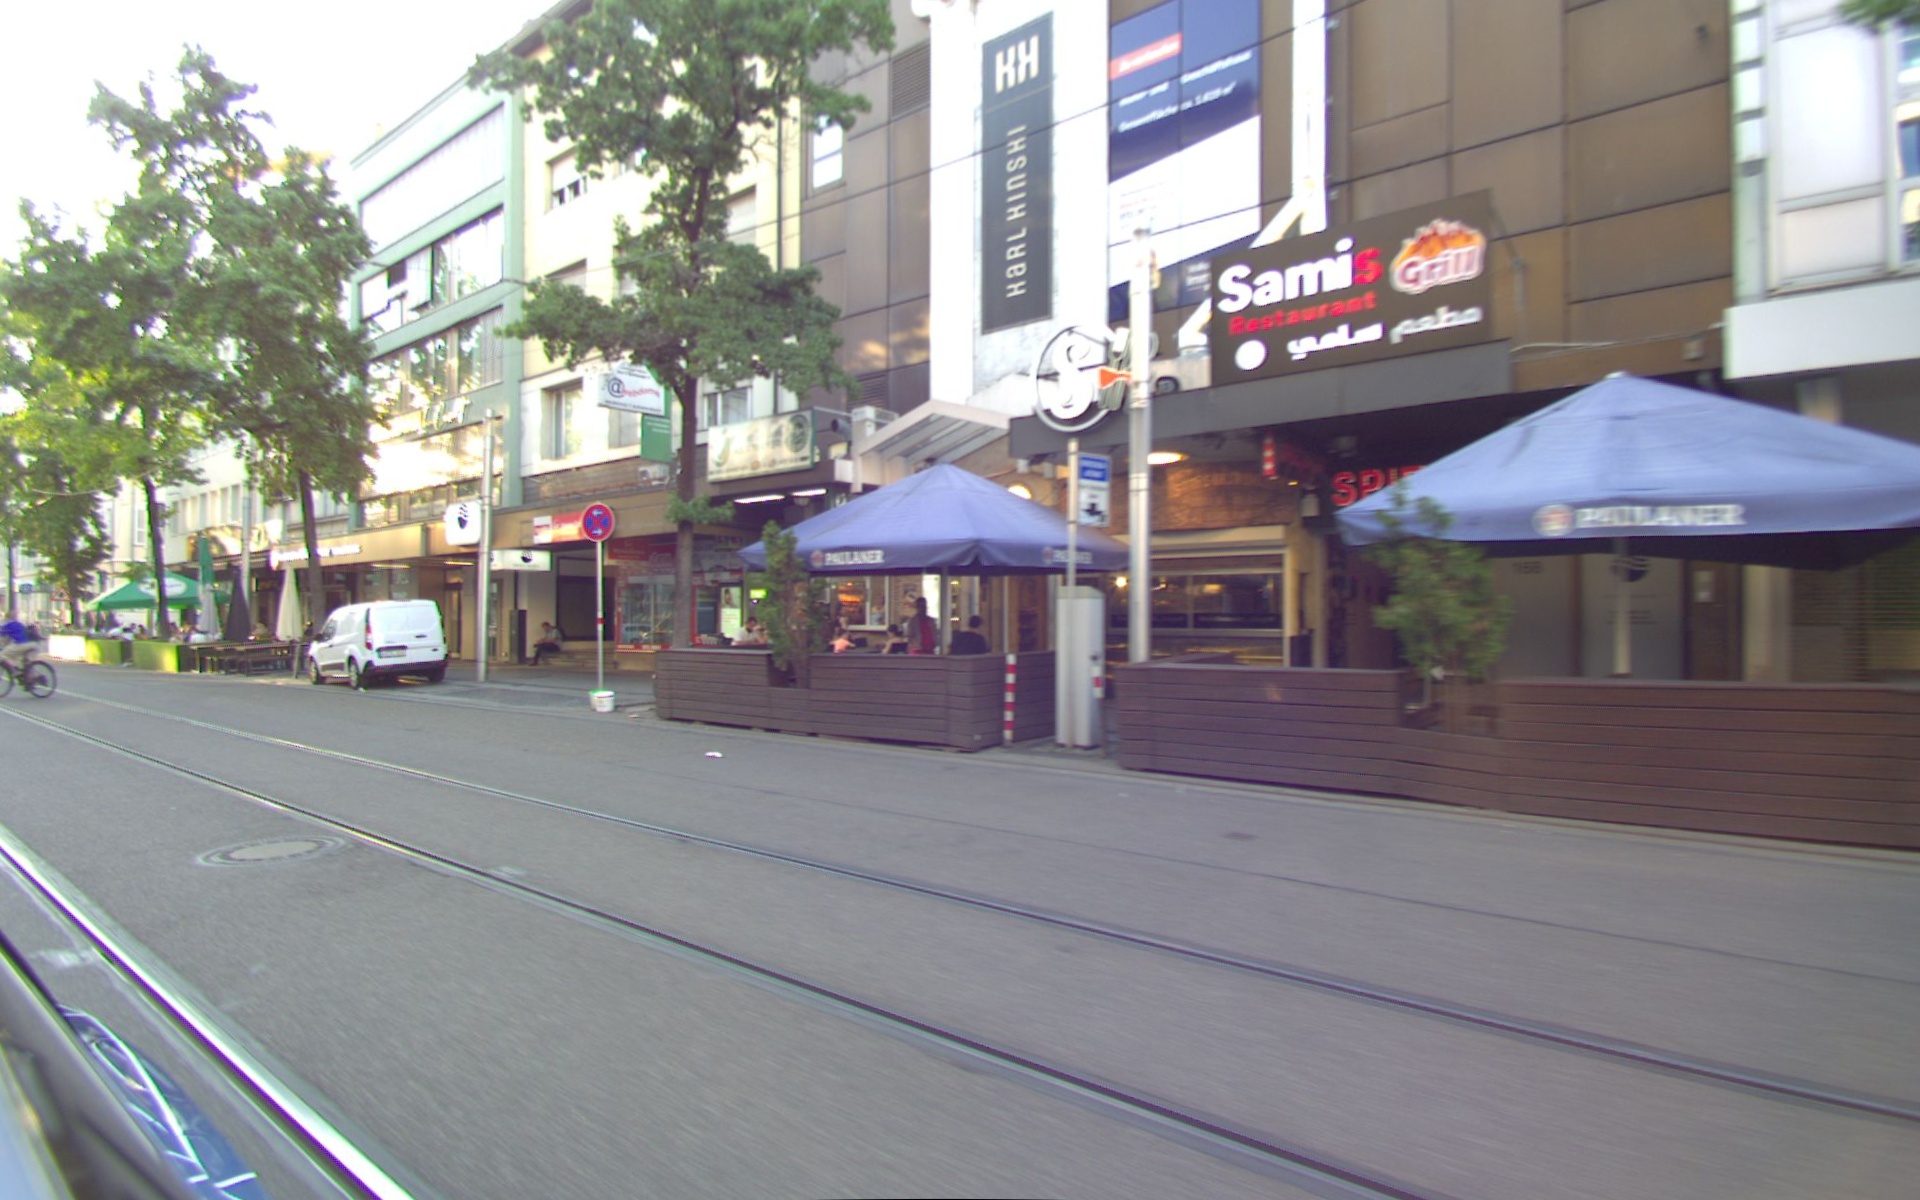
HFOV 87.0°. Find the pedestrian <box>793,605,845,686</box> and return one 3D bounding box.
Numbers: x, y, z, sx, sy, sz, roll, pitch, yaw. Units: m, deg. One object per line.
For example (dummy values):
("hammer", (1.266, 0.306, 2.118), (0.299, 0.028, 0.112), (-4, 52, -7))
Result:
("pedestrian", (-2.661, 0.833, 19.066), (0.642, 1.444, 0.654), (0, 3, 40))

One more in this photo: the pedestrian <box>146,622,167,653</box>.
("pedestrian", (-37.945, 1.770, 47.811), (0.649, 1.471, 0.642), (-1, -2, 38))

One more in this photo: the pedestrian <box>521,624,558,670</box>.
("pedestrian", (-11.029, 1.226, 26.556), (0.648, 1.184, 0.642), (-1, -1, 35))

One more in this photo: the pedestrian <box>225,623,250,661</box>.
("pedestrian", (-28.486, 1.653, 39.910), (0.649, 1.471, 0.642), (-1, -2, 37))

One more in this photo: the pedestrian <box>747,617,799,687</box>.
("pedestrian", (-3.521, 0.955, 19.050), (0.665, 1.237, 0.635), (0, 3, 38))

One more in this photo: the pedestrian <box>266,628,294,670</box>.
("pedestrian", (-24.328, 1.742, 36.215), (0.649, 1.471, 0.642), (-1, -2, 38))

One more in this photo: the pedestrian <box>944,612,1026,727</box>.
("pedestrian", (0.330, 0.877, 13.200), (0.746, 1.411, 0.756), (0, 2, 39))

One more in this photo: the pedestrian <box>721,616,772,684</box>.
("pedestrian", (-4.157, 0.964, 19.693), (0.665, 1.237, 0.635), (0, 3, 38))

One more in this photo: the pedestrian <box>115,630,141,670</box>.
("pedestrian", (-29.127, 1.738, 35.419), (0.640, 1.397, 0.651), (1, -2, -43))

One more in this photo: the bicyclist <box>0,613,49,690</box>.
("bicyclist", (-18.134, 0.961, 19.308), (0.889, 1.425, 0.757), (-1, -1, 14))

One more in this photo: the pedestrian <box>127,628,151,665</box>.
("pedestrian", (-31.411, 1.777, 38.715), (0.640, 1.397, 0.651), (1, -2, -43))

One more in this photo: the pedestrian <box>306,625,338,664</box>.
("pedestrian", (-22.045, 1.517, 34.951), (0.785, 1.326, 0.693), (-1, -2, 36))

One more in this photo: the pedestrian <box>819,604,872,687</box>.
("pedestrian", (-2.105, 0.825, 18.610), (0.642, 1.444, 0.654), (0, 3, 40))

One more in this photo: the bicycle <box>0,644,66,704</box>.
("bicycle", (-18.144, 1.396, 19.304), (1.848, 1.081, 0.729), (-1, -1, 15))

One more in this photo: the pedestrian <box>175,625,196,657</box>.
("pedestrian", (-36.243, 1.925, 47.367), (0.649, 1.471, 0.642), (-1, -2, 38))

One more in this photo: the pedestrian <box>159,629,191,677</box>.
("pedestrian", (-24.325, 1.637, 31.358), (0.650, 1.471, 0.641), (-2, -2, 41))

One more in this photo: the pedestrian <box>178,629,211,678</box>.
("pedestrian", (-23.427, 1.628, 30.970), (0.639, 1.471, 0.652), (0, -2, -20))

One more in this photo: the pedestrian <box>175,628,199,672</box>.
("pedestrian", (-25.974, 1.667, 34.012), (0.639, 1.471, 0.651), (1, -2, -37))

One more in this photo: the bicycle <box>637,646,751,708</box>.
("bicycle", (-4.271, 1.221, 16.228), (1.813, 0.933, 0.477), (-1, 0, 20))

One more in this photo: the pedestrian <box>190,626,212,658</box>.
("pedestrian", (-34.573, 1.904, 46.108), (0.649, 1.471, 0.642), (-1, -2, 38))

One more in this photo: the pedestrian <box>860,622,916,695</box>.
("pedestrian", (-1.203, 0.962, 16.929), (0.665, 1.165, 0.635), (0, 1, 38))

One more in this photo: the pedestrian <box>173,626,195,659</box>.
("pedestrian", (-34.893, 1.903, 45.505), (0.649, 1.471, 0.642), (-1, -2, 37))

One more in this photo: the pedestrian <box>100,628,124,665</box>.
("pedestrian", (-32.752, 1.790, 39.084), (0.640, 1.397, 0.651), (1, -2, -43))

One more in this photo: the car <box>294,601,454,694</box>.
("car", (-13.245, 1.015, 22.785), (4.328, 1.835, 1.807), (-2, 1, 42))

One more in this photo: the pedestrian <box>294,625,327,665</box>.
("pedestrian", (-21.731, 1.508, 33.880), (0.785, 1.326, 0.693), (-1, -2, 36))

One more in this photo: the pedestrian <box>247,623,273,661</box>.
("pedestrian", (-27.465, 1.644, 39.710), (0.649, 1.471, 0.642), (-1, -2, 37))

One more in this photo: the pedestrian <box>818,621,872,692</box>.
("pedestrian", (-2.003, 0.973, 17.648), (0.665, 1.165, 0.635), (0, 1, 38))

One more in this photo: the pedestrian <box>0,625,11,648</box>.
("pedestrian", (-61.569, 2.321, 65.211), (0.543, 1.471, 0.484), (-1, -2, 38))

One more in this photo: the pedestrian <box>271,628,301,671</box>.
("pedestrian", (-23.657, 1.733, 35.528), (0.648, 1.471, 0.643), (-1, -2, 31))

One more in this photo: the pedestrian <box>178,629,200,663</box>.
("pedestrian", (-34.191, 2.036, 44.882), (0.649, 1.471, 0.642), (-1, -2, 37))

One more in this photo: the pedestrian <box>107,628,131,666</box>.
("pedestrian", (-31.806, 1.778, 38.282), (0.640, 1.397, 0.651), (1, -2, -43))

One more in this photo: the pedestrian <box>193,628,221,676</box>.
("pedestrian", (-23.706, 1.636, 31.864), (0.639, 1.471, 0.652), (1, -2, -33))

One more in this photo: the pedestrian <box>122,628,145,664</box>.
("pedestrian", (-32.299, 1.790, 39.541), (0.640, 1.397, 0.651), (1, -2, -43))

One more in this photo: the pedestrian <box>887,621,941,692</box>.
("pedestrian", (-0.803, 0.963, 17.641), (0.665, 1.165, 0.635), (0, 1, 38))

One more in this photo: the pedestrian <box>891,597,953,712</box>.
("pedestrian", (-0.536, 0.755, 14.357), (0.564, 1.564, 0.650), (0, 1, 38))

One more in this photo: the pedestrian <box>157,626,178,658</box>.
("pedestrian", (-36.641, 1.925, 46.793), (0.649, 1.471, 0.642), (-1, -2, 38))
